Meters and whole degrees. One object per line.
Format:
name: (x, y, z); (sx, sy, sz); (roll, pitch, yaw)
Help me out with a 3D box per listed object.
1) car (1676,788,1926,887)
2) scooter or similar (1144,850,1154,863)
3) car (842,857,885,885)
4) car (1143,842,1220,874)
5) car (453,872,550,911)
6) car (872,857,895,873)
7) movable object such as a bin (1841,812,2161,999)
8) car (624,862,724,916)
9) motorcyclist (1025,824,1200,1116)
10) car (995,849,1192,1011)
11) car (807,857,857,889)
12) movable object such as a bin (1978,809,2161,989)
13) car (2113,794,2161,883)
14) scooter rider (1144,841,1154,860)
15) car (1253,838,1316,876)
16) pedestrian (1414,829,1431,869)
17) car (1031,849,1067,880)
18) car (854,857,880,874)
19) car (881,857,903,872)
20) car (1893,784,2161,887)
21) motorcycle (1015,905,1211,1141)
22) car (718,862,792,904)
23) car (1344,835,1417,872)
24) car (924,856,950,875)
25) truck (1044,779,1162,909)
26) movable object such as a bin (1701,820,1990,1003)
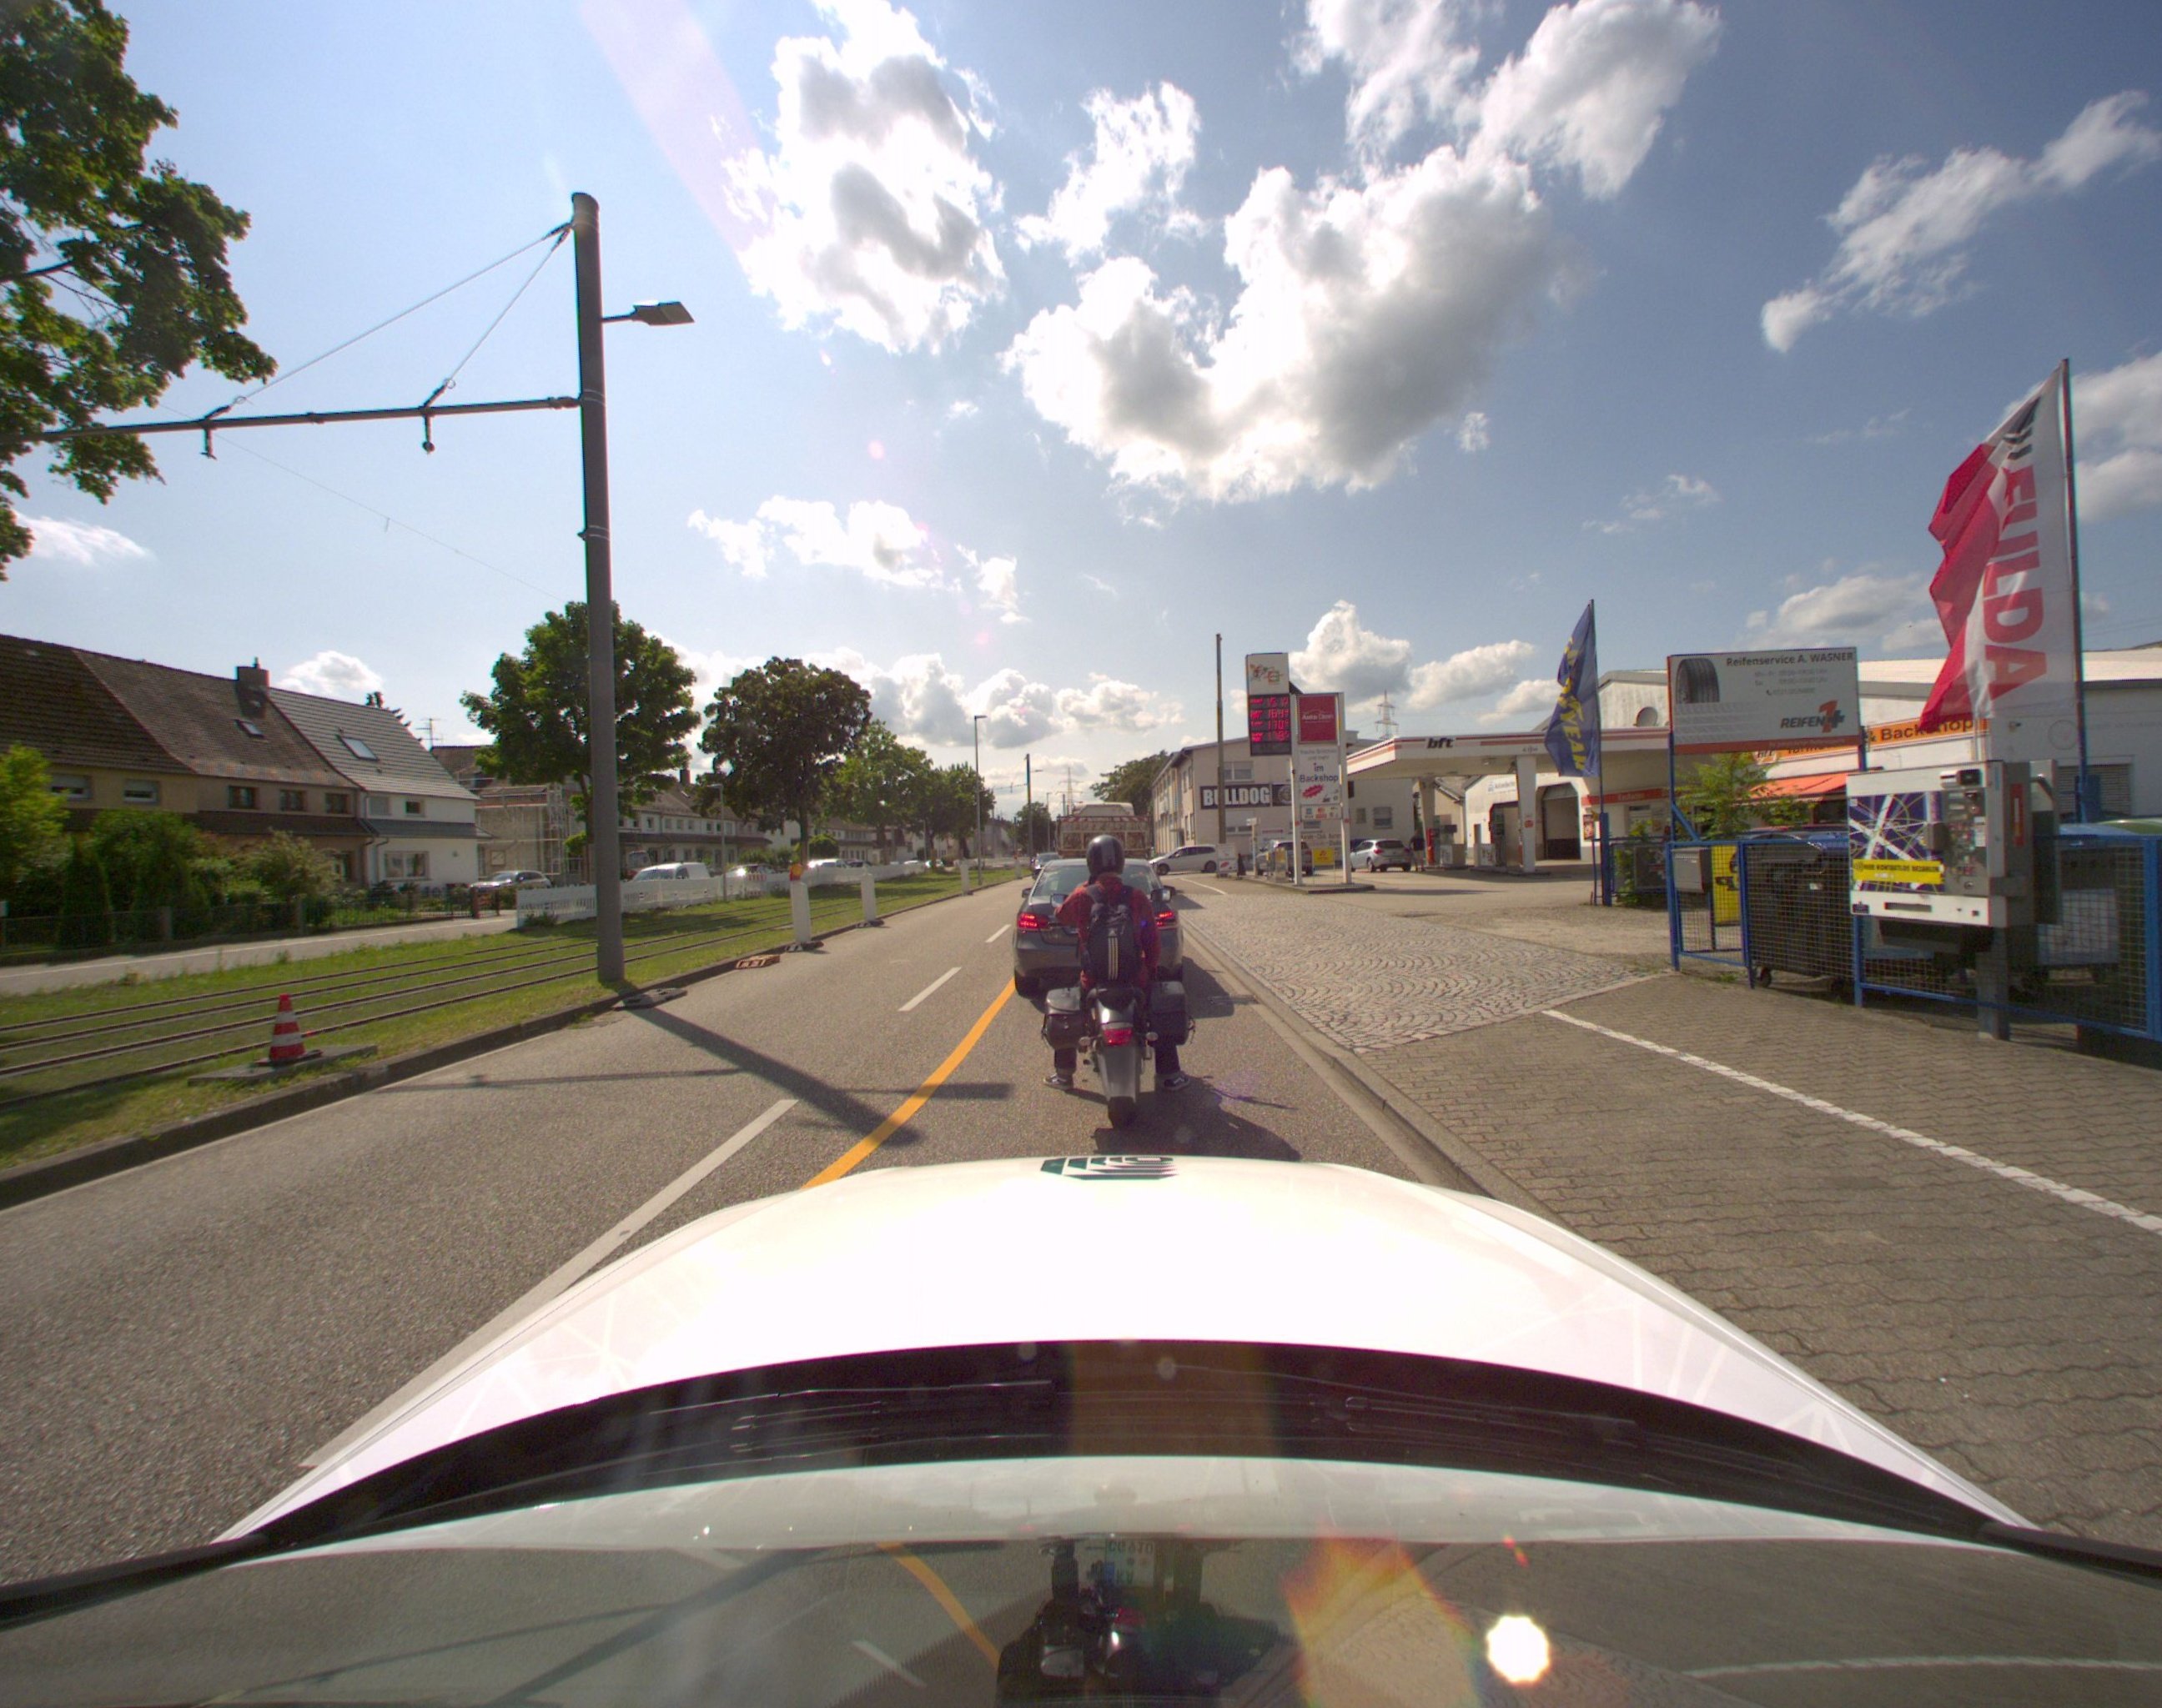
car: (16.604, -0.373, 18.964); (3.972, 2.013, 2.001); (-2, 0, 1)
scooter or similar: (6.437, 0.251, 76.999); (0.792, 1.144, 1.520); (-2, 0, 2)
car: (-14.866, 1.140, 55.759); (1.692, 1.739, 3.862); (-2, 0, 2)
car: (5.768, 0.227, 47.051); (4.101, 1.624, 1.682); (-3, 0, -7)
car: (-27.477, 1.730, 38.794); (1.692, 1.593, 3.862); (-2, 0, 2)
car: (-24.048, 1.337, 99.343); (1.692, 1.739, 4.064); (-2, 0, 2)
movable object such as a bin: (8.107, 0.414, 7.282); (1.222, 1.454, 1.455); (-2, 0, 0)
car: (-15.415, 1.277, 31.058); (1.692, 1.817, 3.862); (-2, 0, 2)
motorcyclist: (0.197, 0.652, 5.198); (0.966, 1.633, 1.215); (-1, 0, 1)
car: (0.149, 0.721, 9.847); (1.826, 1.479, 4.009); (-3, 0, 1)
car: (-15.037, 1.109, 49.392); (1.692, 1.739, 3.862); (-2, 0, 2)
movable object such as a bin: (9.452, 0.333, 7.193); (1.425, 1.454, 1.455); (-2, 0, 0)
car: (26.355, -0.435, 18.188); (3.972, 2.013, 2.001); (-2, 0, 1)
scooter rider: (6.410, -0.315, 76.971); (0.792, 1.818, 0.508); (-2, 0, 1)
car: (9.070, 0.121, 36.579); (1.826, 1.536, 4.009); (-3, 0, 1)
pedestrian: (14.844, -0.210, 35.391); (0.628, 1.683, 0.626); (-2, 0, 23)
car: (-1.893, 0.601, 47.128); (1.679, 1.624, 4.109); (-2, 0, -7)
car: (-24.464, 1.303, 93.140); (1.692, 1.739, 4.064); (-2, 0, 2)
car: (-24.378, 1.345, 105.366); (1.692, 1.739, 4.064); (-2, 0, 2)
car: (21.252, -0.402, 18.272); (3.972, 2.013, 2.001); (-2, 0, 1)
motorcycle: (0.198, 0.930, 5.315); (0.972, 1.013, 2.433); (-1, 0, 2)
car: (-15.323, 1.324, 38.488); (1.692, 1.739, 4.056); (-2, 0, 2)
car: (13.541, -0.024, 37.071); (1.826, 1.479, 4.009); (-3, 0, 1)
car: (-14.187, 1.152, 80.314); (1.692, 1.739, 3.862); (-2, 0, 2)
truck: (0.645, -0.283, 25.606); (2.960, 3.304, 8.407); (-2, 0, 1)
movable object such as a bin: (6.828, 0.468, 7.406); (1.222, 1.454, 1.455); (-2, 0, 0)
